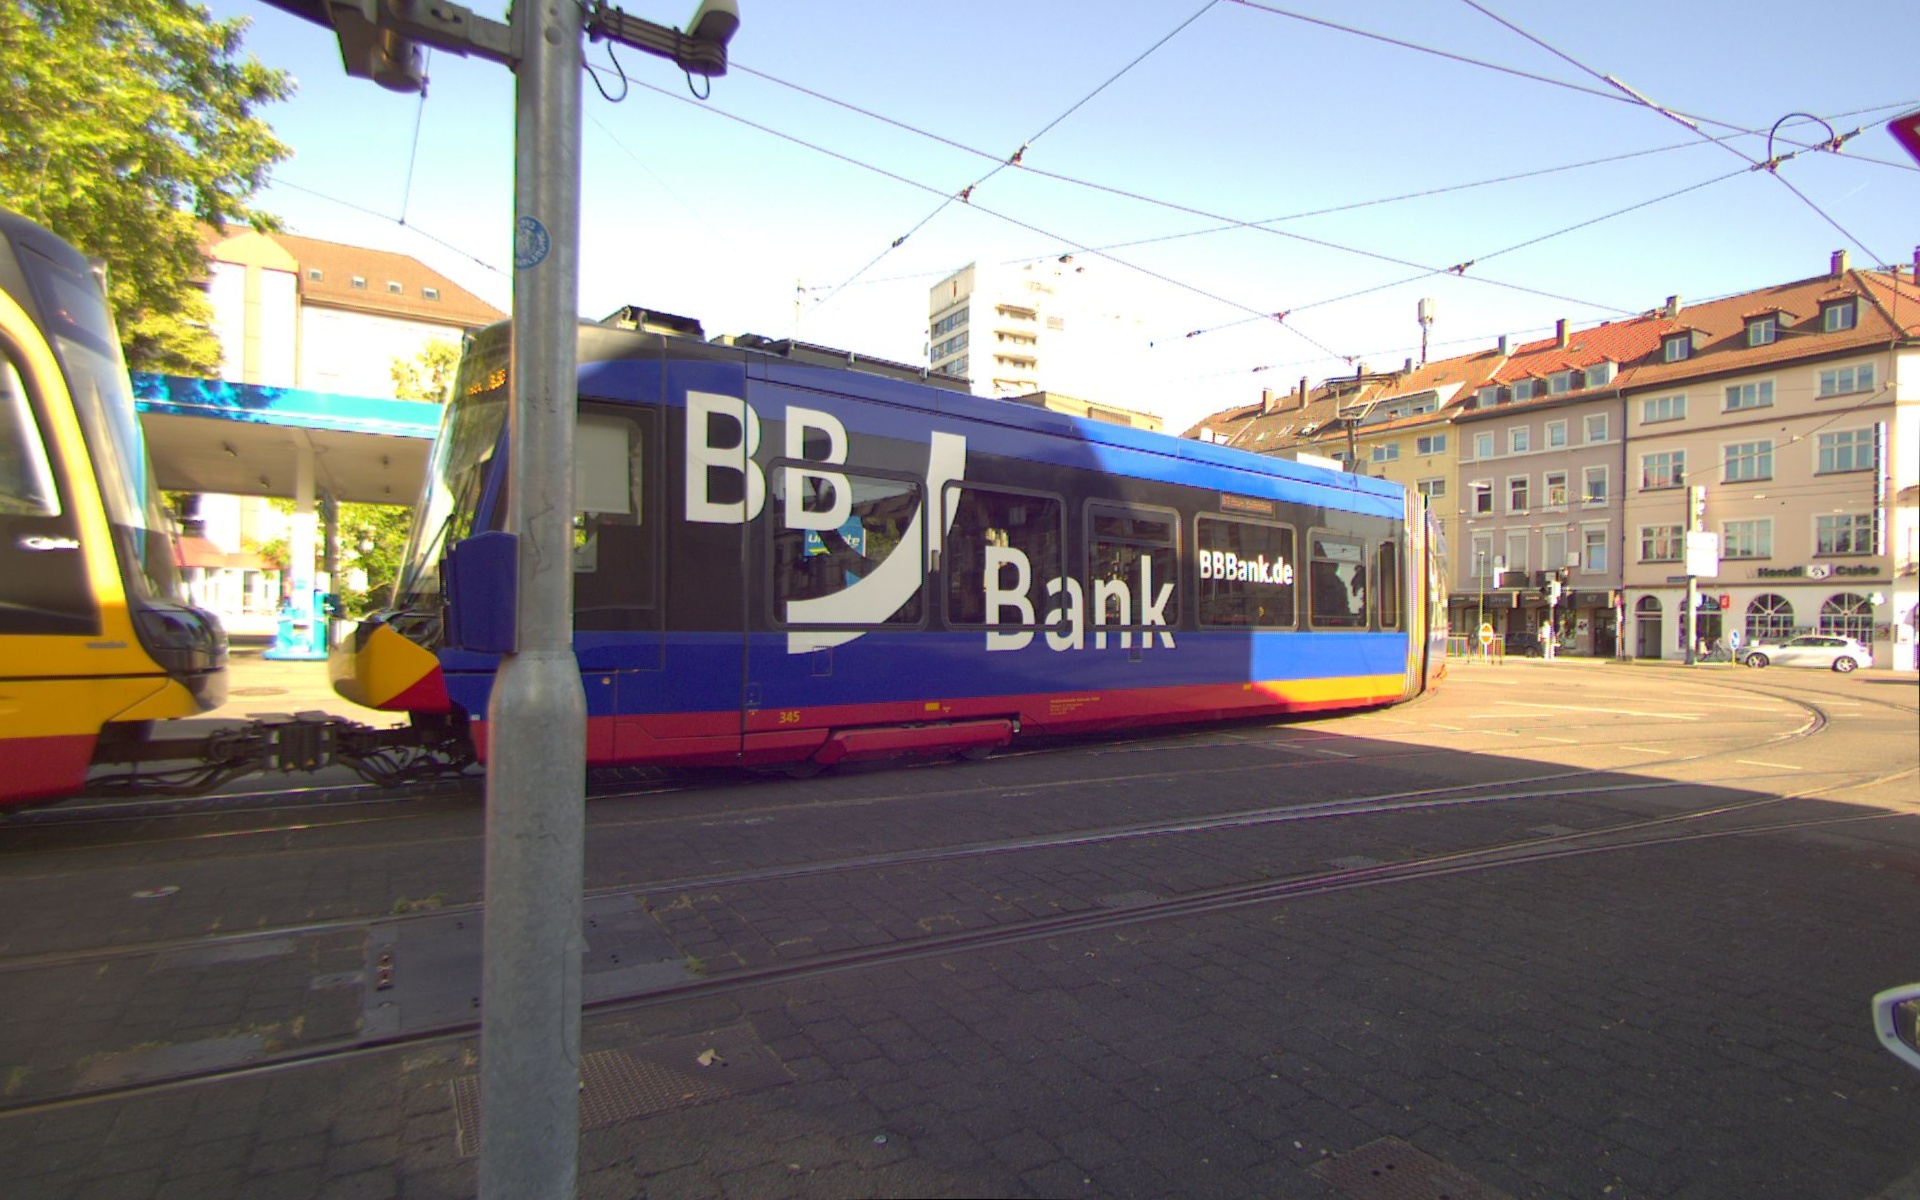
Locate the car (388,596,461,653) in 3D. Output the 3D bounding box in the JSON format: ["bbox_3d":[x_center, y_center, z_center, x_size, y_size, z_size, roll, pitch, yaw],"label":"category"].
[{"bbox_3d":[-15.309,0.672,28.606,1.697,1.506,4.185,1,-1,-30],"label":"car"}]

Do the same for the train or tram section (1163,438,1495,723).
[{"bbox_3d":[7.676,-0.111,18.936,3.014,3.661,12.466,0,-1,34],"label":"train or tram section"}]

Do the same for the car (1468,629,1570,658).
[{"bbox_3d":[30.578,2.373,55.091,1.725,1.459,4.614,2,-1,-32],"label":"car"}]

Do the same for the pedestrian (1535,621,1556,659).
[{"bbox_3d":[25.822,1.738,44.300,0.713,1.648,0.671,0,-1,25],"label":"pedestrian"}]

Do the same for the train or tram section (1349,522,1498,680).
[{"bbox_3d":[13.122,0.144,29.433,3.005,3.661,12.114,0,-1,20],"label":"train or tram section"}]

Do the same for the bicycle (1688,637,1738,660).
[{"bbox_3d":[37.691,2.400,50.292,0.578,1.081,1.929,1,-1,-36],"label":"bicycle"}]

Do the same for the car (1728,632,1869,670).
[{"bbox_3d":[33.665,2.023,40.481,4.151,1.373,1.994,0,-1,34],"label":"car"}]

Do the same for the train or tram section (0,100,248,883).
[{"bbox_3d":[-9.699,-0.610,3.121,11.983,3.661,3.038,1,-1,-33],"label":"train or tram section"}]

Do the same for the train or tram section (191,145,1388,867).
[{"bbox_3d":[-0.113,-0.341,10.129,12.014,3.661,3.030,2,-1,-40],"label":"train or tram section"}]
